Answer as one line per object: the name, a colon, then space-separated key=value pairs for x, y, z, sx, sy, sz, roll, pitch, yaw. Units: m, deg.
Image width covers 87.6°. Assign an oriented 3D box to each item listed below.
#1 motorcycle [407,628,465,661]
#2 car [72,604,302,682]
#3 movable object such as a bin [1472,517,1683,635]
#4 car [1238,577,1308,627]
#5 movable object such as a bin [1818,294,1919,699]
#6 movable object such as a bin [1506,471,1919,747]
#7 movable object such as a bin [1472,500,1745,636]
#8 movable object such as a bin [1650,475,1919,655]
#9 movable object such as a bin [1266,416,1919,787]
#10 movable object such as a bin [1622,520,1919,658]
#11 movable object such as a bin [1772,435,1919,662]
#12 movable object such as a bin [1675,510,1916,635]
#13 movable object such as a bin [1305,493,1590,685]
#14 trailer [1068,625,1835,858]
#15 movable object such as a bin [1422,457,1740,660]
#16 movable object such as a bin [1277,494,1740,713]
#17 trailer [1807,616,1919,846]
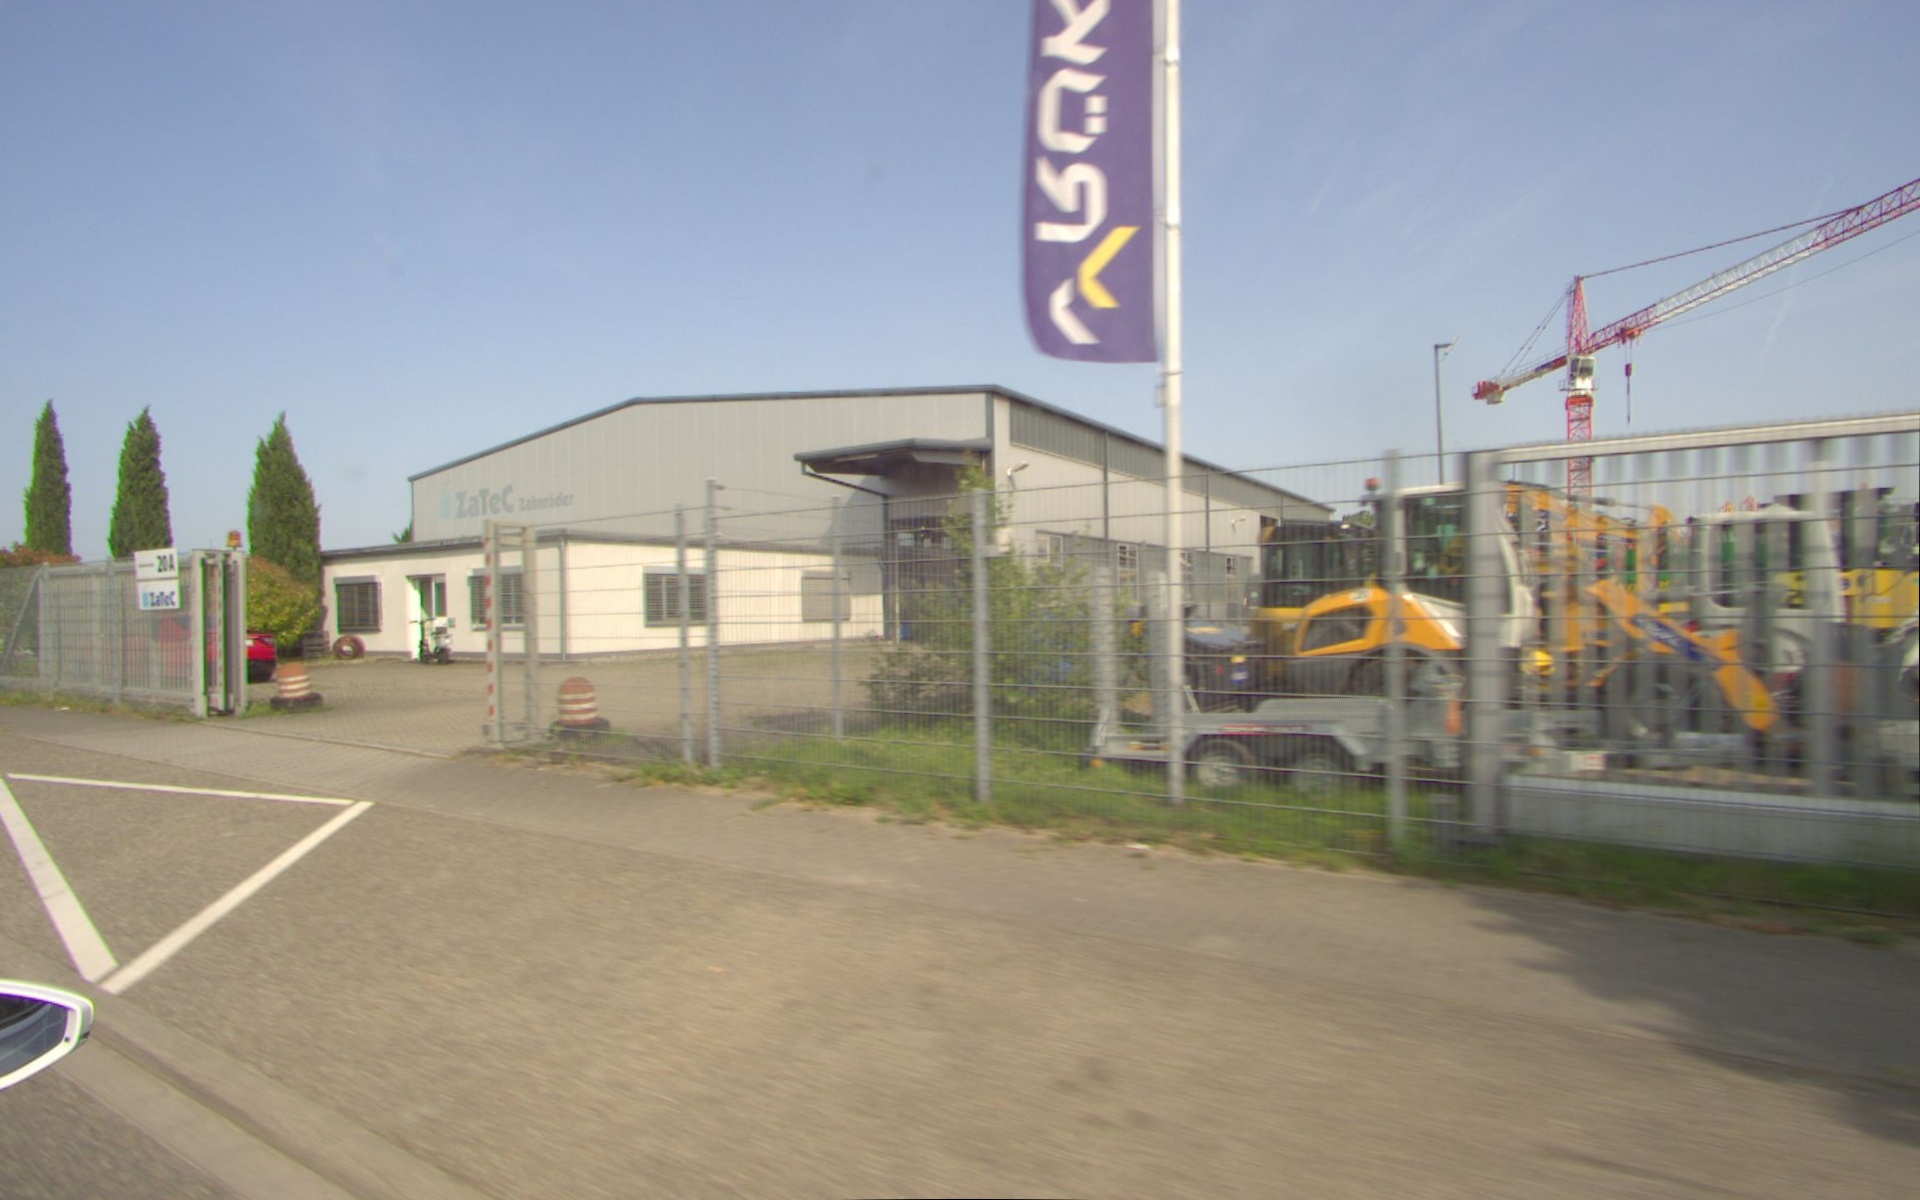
motorcycle: x=-12.644 y=1.060 z=24.153 sx=1.560 sy=0.761 sz=0.533 roll=-1 pitch=2 yaw=33
car: x=-15.164 y=0.794 z=19.592 sx=4.701 sy=1.376 sz=1.878 roll=-1 pitch=0 yaw=29
movable object such as a bin: x=21.391 y=-0.739 z=35.043 sx=6.050 sy=3.831 sz=2.448 roll=-1 pitch=1 yaw=29
car: x=15.953 y=0.093 z=50.851 sx=2.193 sy=2.422 sz=4.679 roll=2 pitch=1 yaw=32
movable object such as a bin: x=15.317 y=-1.268 z=11.670 sx=7.561 sy=4.870 sz=3.310 roll=0 pitch=1 yaw=31
movable object such as a bin: x=8.487 y=0.096 z=10.432 sx=4.702 sy=2.491 sz=1.986 roll=-1 pitch=0 yaw=37
movable object such as a bin: x=20.554 y=-0.890 z=32.268 sx=7.094 sy=3.982 sz=2.462 roll=-1 pitch=1 yaw=29
movable object such as a bin: x=15.318 y=-0.552 z=16.539 sx=6.256 sy=2.752 sz=2.695 roll=0 pitch=1 yaw=31
movable object such as a bin: x=5.768 y=0.049 z=9.617 sx=5.088 sy=2.788 sz=1.882 roll=-1 pitch=0 yaw=34
movable object such as a bin: x=18.151 y=-0.215 z=22.262 sx=5.607 sy=2.806 sz=2.050 roll=0 pitch=1 yaw=31
movable object such as a bin: x=19.306 y=-0.930 z=17.857 sx=7.102 sy=3.982 sz=2.912 roll=0 pitch=1 yaw=31
movable object such as a bin: x=28.638 y=-0.848 z=34.683 sx=5.931 sy=3.982 sz=2.714 roll=-1 pitch=1 yaw=29
movable object such as a bin: x=8.762 y=-0.149 z=18.105 sx=4.429 sy=3.072 sz=1.988 roll=-1 pitch=0 yaw=34
trailer: x=3.436 y=0.848 z=7.765 sx=4.726 sy=1.260 sz=2.122 roll=-1 pitch=0 yaw=32
movable object such as a bin: x=13.468 y=-0.766 z=22.077 sx=5.638 sy=3.925 sz=2.677 roll=-1 pitch=0 yaw=34
movable object such as a bin: x=7.553 y=0.078 z=14.195 sx=5.265 sy=2.524 sz=2.915 roll=-1 pitch=0 yaw=33
trailer: x=7.540 y=0.720 z=5.424 sx=4.232 sy=1.260 sz=1.940 roll=-1 pitch=0 yaw=32
